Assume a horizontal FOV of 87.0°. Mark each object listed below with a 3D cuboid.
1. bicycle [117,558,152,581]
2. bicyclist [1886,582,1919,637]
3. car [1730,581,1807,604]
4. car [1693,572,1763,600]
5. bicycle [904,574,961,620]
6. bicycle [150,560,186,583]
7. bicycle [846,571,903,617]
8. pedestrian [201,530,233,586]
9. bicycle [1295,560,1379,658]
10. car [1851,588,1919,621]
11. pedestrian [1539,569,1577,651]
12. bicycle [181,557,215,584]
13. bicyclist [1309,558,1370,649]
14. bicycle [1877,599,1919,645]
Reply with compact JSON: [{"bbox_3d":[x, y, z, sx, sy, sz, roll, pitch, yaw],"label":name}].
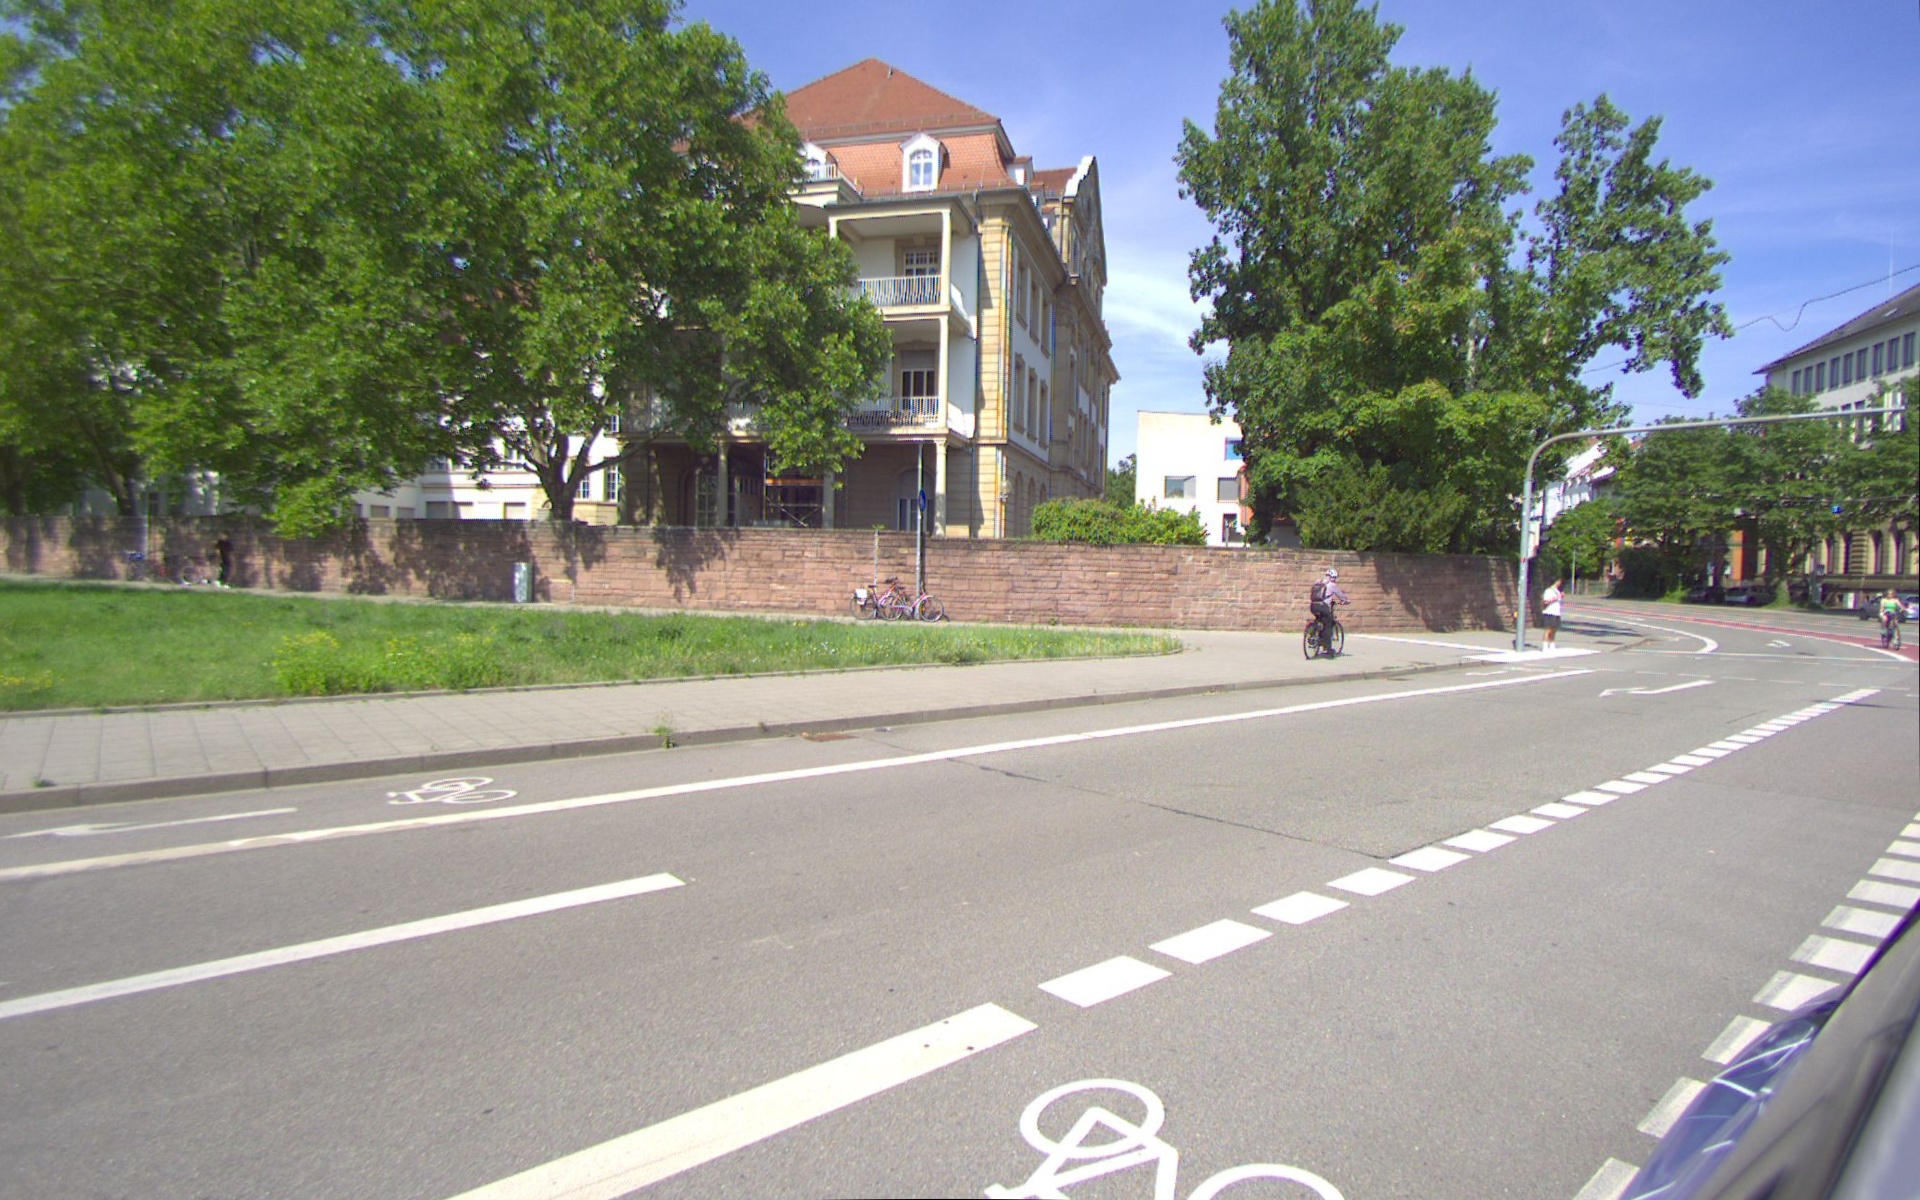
[{"bbox_3d":[-28.542,-1.051,34.983,1.350,0.737,0.338,3,2,23],"label":"bicycle"},{"bbox_3d":[27.411,0.268,29.397,0.583,1.567,0.922,0,1,30],"label":"bicyclist"},{"bbox_3d":[60.461,-0.582,75.792,3.941,1.482,1.992,2,2,14],"label":"car"},{"bbox_3d":[61.541,-1.146,81.155,3.941,2.038,1.992,2,2,14],"label":"car"},{"bbox_3d":[-0.715,-0.083,26.151,1.406,1.136,0.350,2,2,-6],"label":"bicycle"},{"bbox_3d":[-26.922,-0.966,34.401,1.350,0.737,0.338,3,2,23],"label":"bicycle"},{"bbox_3d":[-2.195,-0.153,26.064,1.406,1.136,0.350,1,2,-27],"label":"bicycle"},{"bbox_3d":[-24.032,-1.366,32.748,0.592,1.761,0.616,2,2,20],"label":"pedestrian"},{"bbox_3d":[7.255,0.155,19.439,1.779,1.787,0.679,0,2,-41],"label":"bicycle"},{"bbox_3d":[47.210,0.239,50.545,1.766,1.429,4.002,2,3,0],"label":"car"},{"bbox_3d":[14.413,0.230,24.398,0.649,1.897,0.788,4,3,31],"label":"pedestrian"},{"bbox_3d":[-25.437,-0.997,33.779,1.294,0.866,0.369,3,2,25],"label":"bicycle"},{"bbox_3d":[7.297,0.054,19.458,0.903,1.675,0.679,0,2,-41],"label":"bicyclist"},{"bbox_3d":[27.372,0.626,29.335,0.680,1.237,2.163,3,2,30],"label":"bicycle"}]
